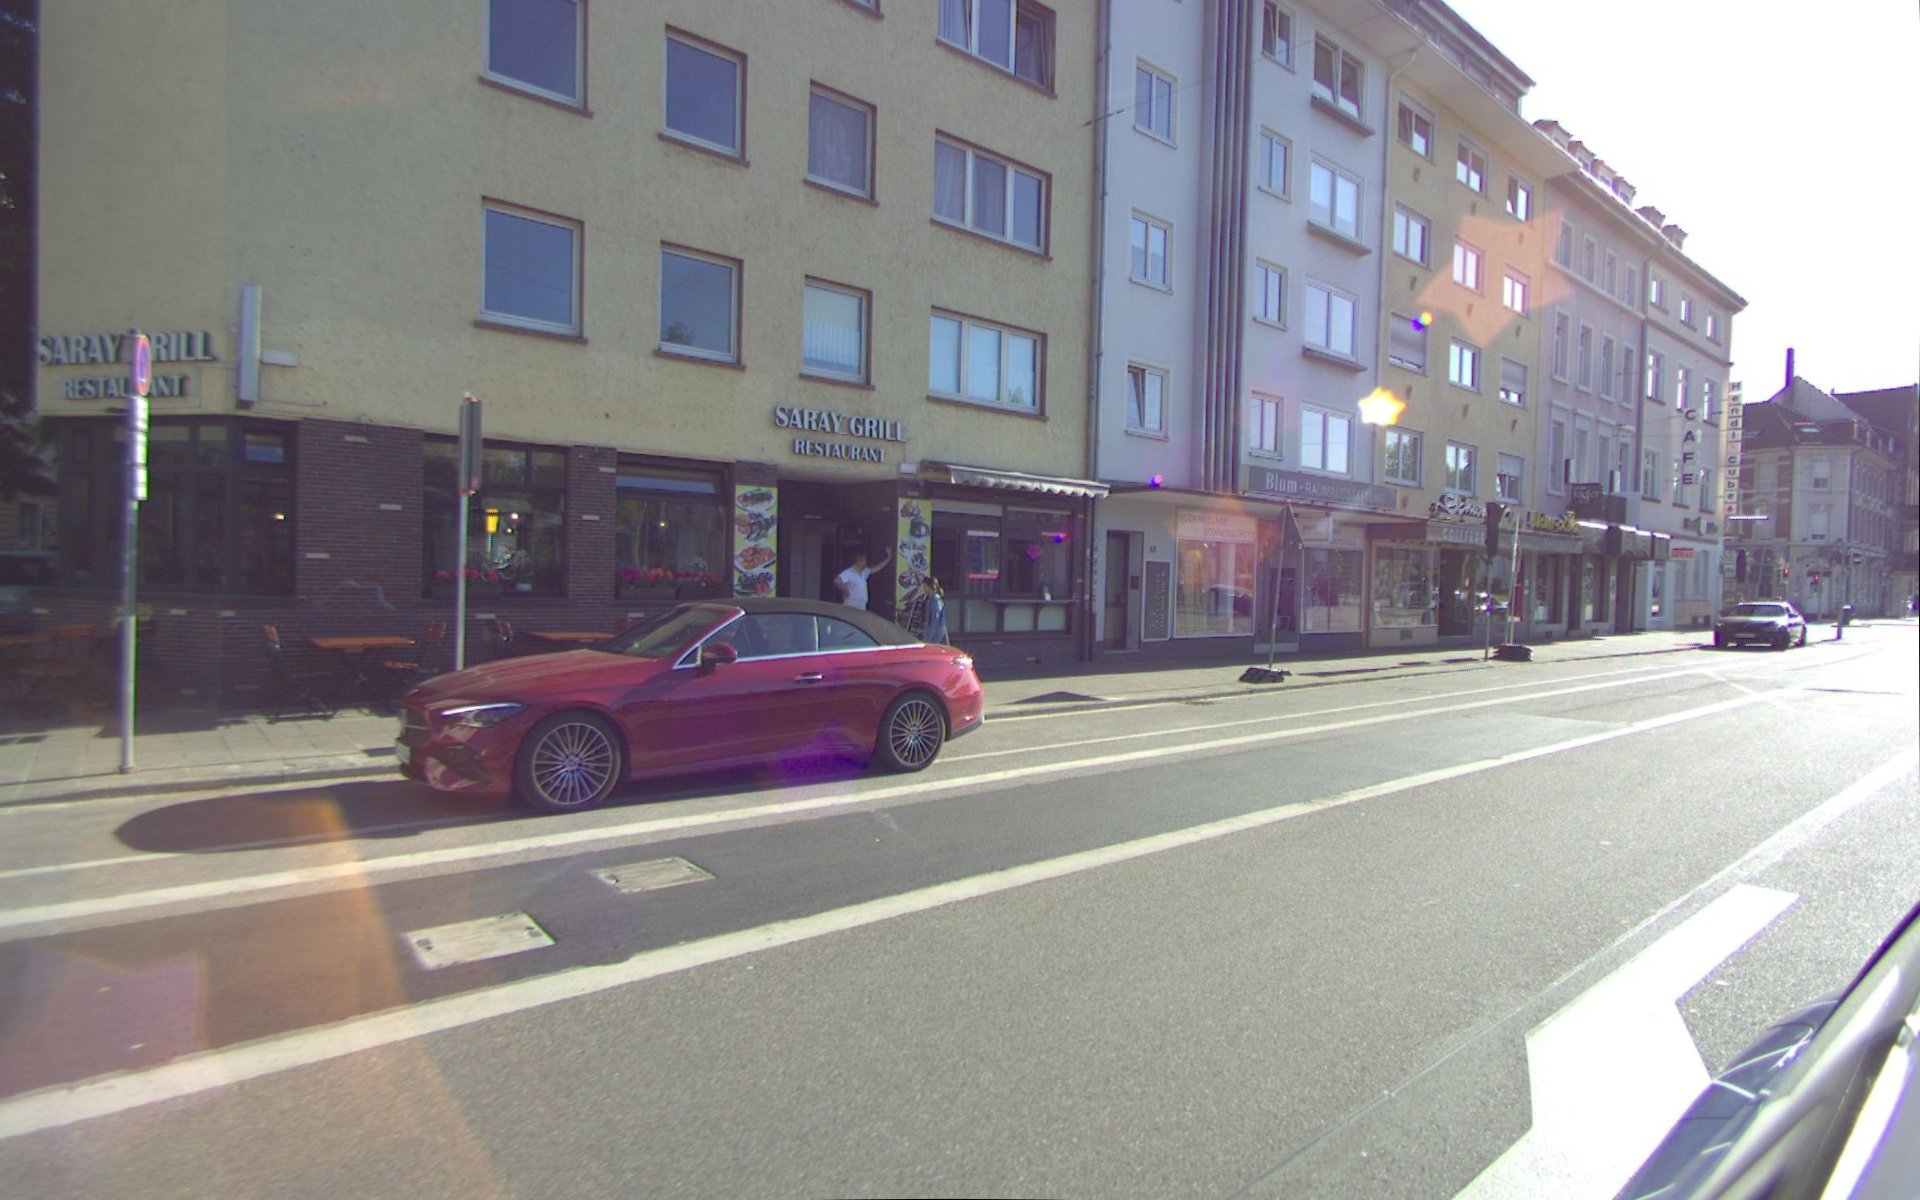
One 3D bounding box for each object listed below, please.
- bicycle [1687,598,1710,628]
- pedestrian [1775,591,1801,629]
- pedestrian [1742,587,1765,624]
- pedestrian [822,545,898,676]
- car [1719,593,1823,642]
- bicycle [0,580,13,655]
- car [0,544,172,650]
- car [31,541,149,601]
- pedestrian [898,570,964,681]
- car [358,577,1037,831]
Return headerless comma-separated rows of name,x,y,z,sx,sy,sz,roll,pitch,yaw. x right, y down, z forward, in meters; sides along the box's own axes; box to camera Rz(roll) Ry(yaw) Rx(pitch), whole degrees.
bicycle,29.056,0.498,39.830,0.693,1.122,1.842,2,2,35
pedestrian,37.656,0.447,46.009,0.785,1.712,0.775,3,-1,-41
pedestrian,37.083,0.263,47.294,0.665,1.711,0.663,0,1,-40
pedestrian,-1.490,0.132,15.138,0.726,1.877,0.890,2,1,33
car,26.010,0.493,32.400,4.636,1.448,1.902,0,0,-42
bicycle,-14.886,0.266,14.558,0.367,1.096,1.803,2,2,36
car,-16.048,-0.132,17.943,1.958,1.662,4.258,2,1,-19
car,-29.419,-1.002,34.384,1.958,1.845,4.256,2,1,-25
pedestrian,-0.412,0.341,14.323,0.640,1.525,0.672,0,1,-40
car,-1.856,0.588,8.285,5.067,1.460,1.876,0,2,-40
